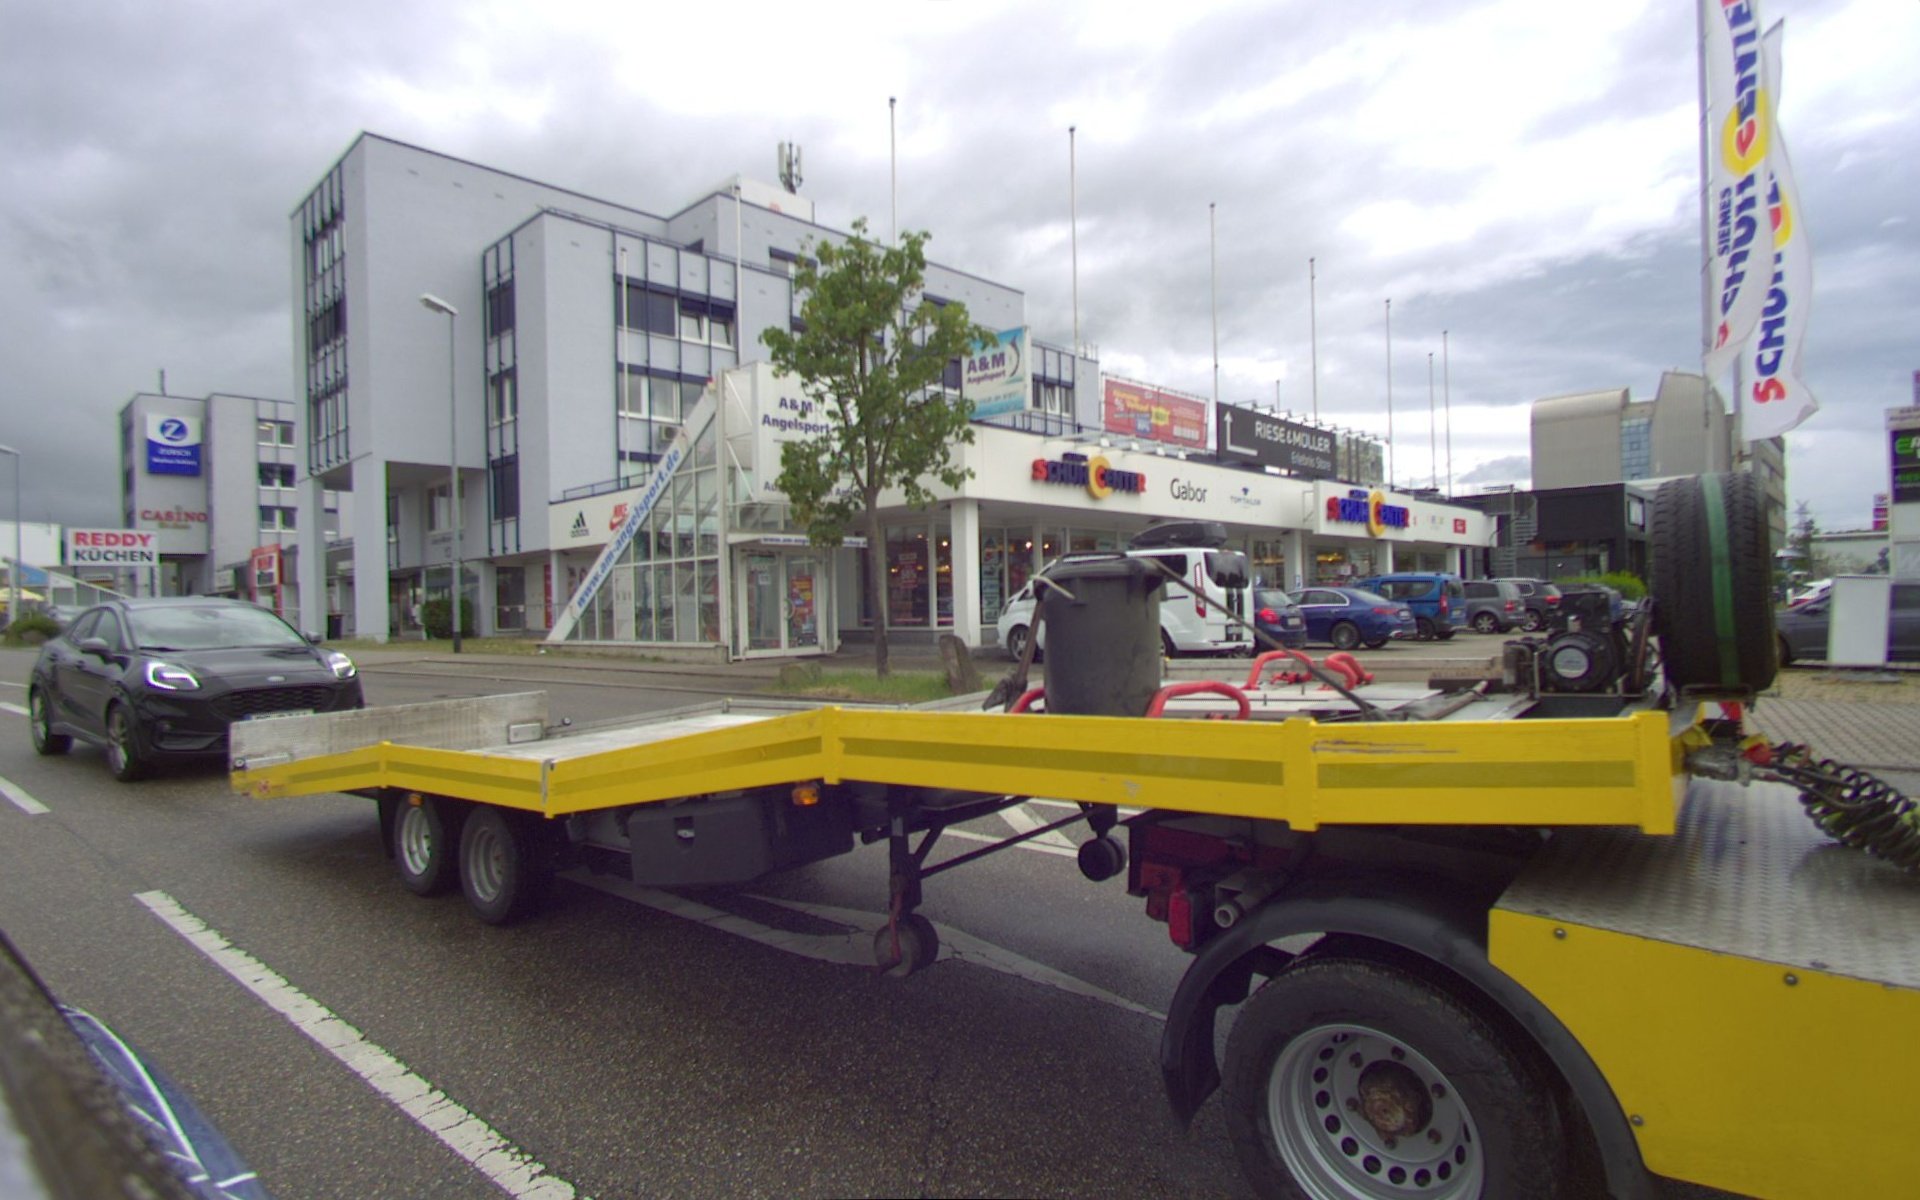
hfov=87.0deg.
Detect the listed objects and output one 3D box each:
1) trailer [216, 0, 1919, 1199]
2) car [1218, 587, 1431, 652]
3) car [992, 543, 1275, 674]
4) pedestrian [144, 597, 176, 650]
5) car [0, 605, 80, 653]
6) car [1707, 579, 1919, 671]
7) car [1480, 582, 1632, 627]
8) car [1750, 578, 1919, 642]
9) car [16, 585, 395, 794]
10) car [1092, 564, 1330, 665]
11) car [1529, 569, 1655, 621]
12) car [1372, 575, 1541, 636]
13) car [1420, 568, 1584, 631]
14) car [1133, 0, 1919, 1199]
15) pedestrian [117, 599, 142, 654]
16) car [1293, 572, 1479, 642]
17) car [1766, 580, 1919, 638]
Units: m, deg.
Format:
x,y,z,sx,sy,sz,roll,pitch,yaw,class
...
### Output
x,y,z,sx,sy,sz,roll,pitch,yaw,class
-0.876,0.161,4.707,7.964,2.492,2.280,0,0,39,trailer
8.488,0.425,23.828,4.377,1.404,1.797,0,0,45,car
2.969,0.149,18.174,1.970,2.029,4.791,0,-1,-44,car
-26.555,0.770,33.603,0.634,1.756,0.590,-1,0,-16,pedestrian
-33.430,1.051,36.660,3.998,1.622,1.799,-2,-1,41,car
14.874,0.385,16.458,1.795,1.404,4.132,0,0,-42,car
21.252,0.171,36.205,4.377,1.509,1.869,0,0,45,car
20.963,0.227,23.368,4.128,1.404,1.872,0,0,44,car
-7.214,0.687,9.563,3.993,1.552,1.792,-1,1,37,car
5.011,0.279,20.634,4.377,1.834,1.869,0,0,45,car
25.801,-0.200,41.388,1.882,2.029,4.005,0,0,-42,car
15.360,0.165,31.448,4.377,1.777,1.869,0,0,45,car
17.581,-0.006,32.959,4.377,1.920,1.869,0,0,45,car
3.008,0.123,1.486,5.010,2.492,2.217,0,0,39,car
-26.345,0.823,32.091,0.519,1.720,0.543,0,0,43,pedestrian
11.703,0.184,27.979,4.377,1.777,1.869,0,0,45,car
23.307,0.221,25.818,4.128,1.404,1.797,0,0,44,car
